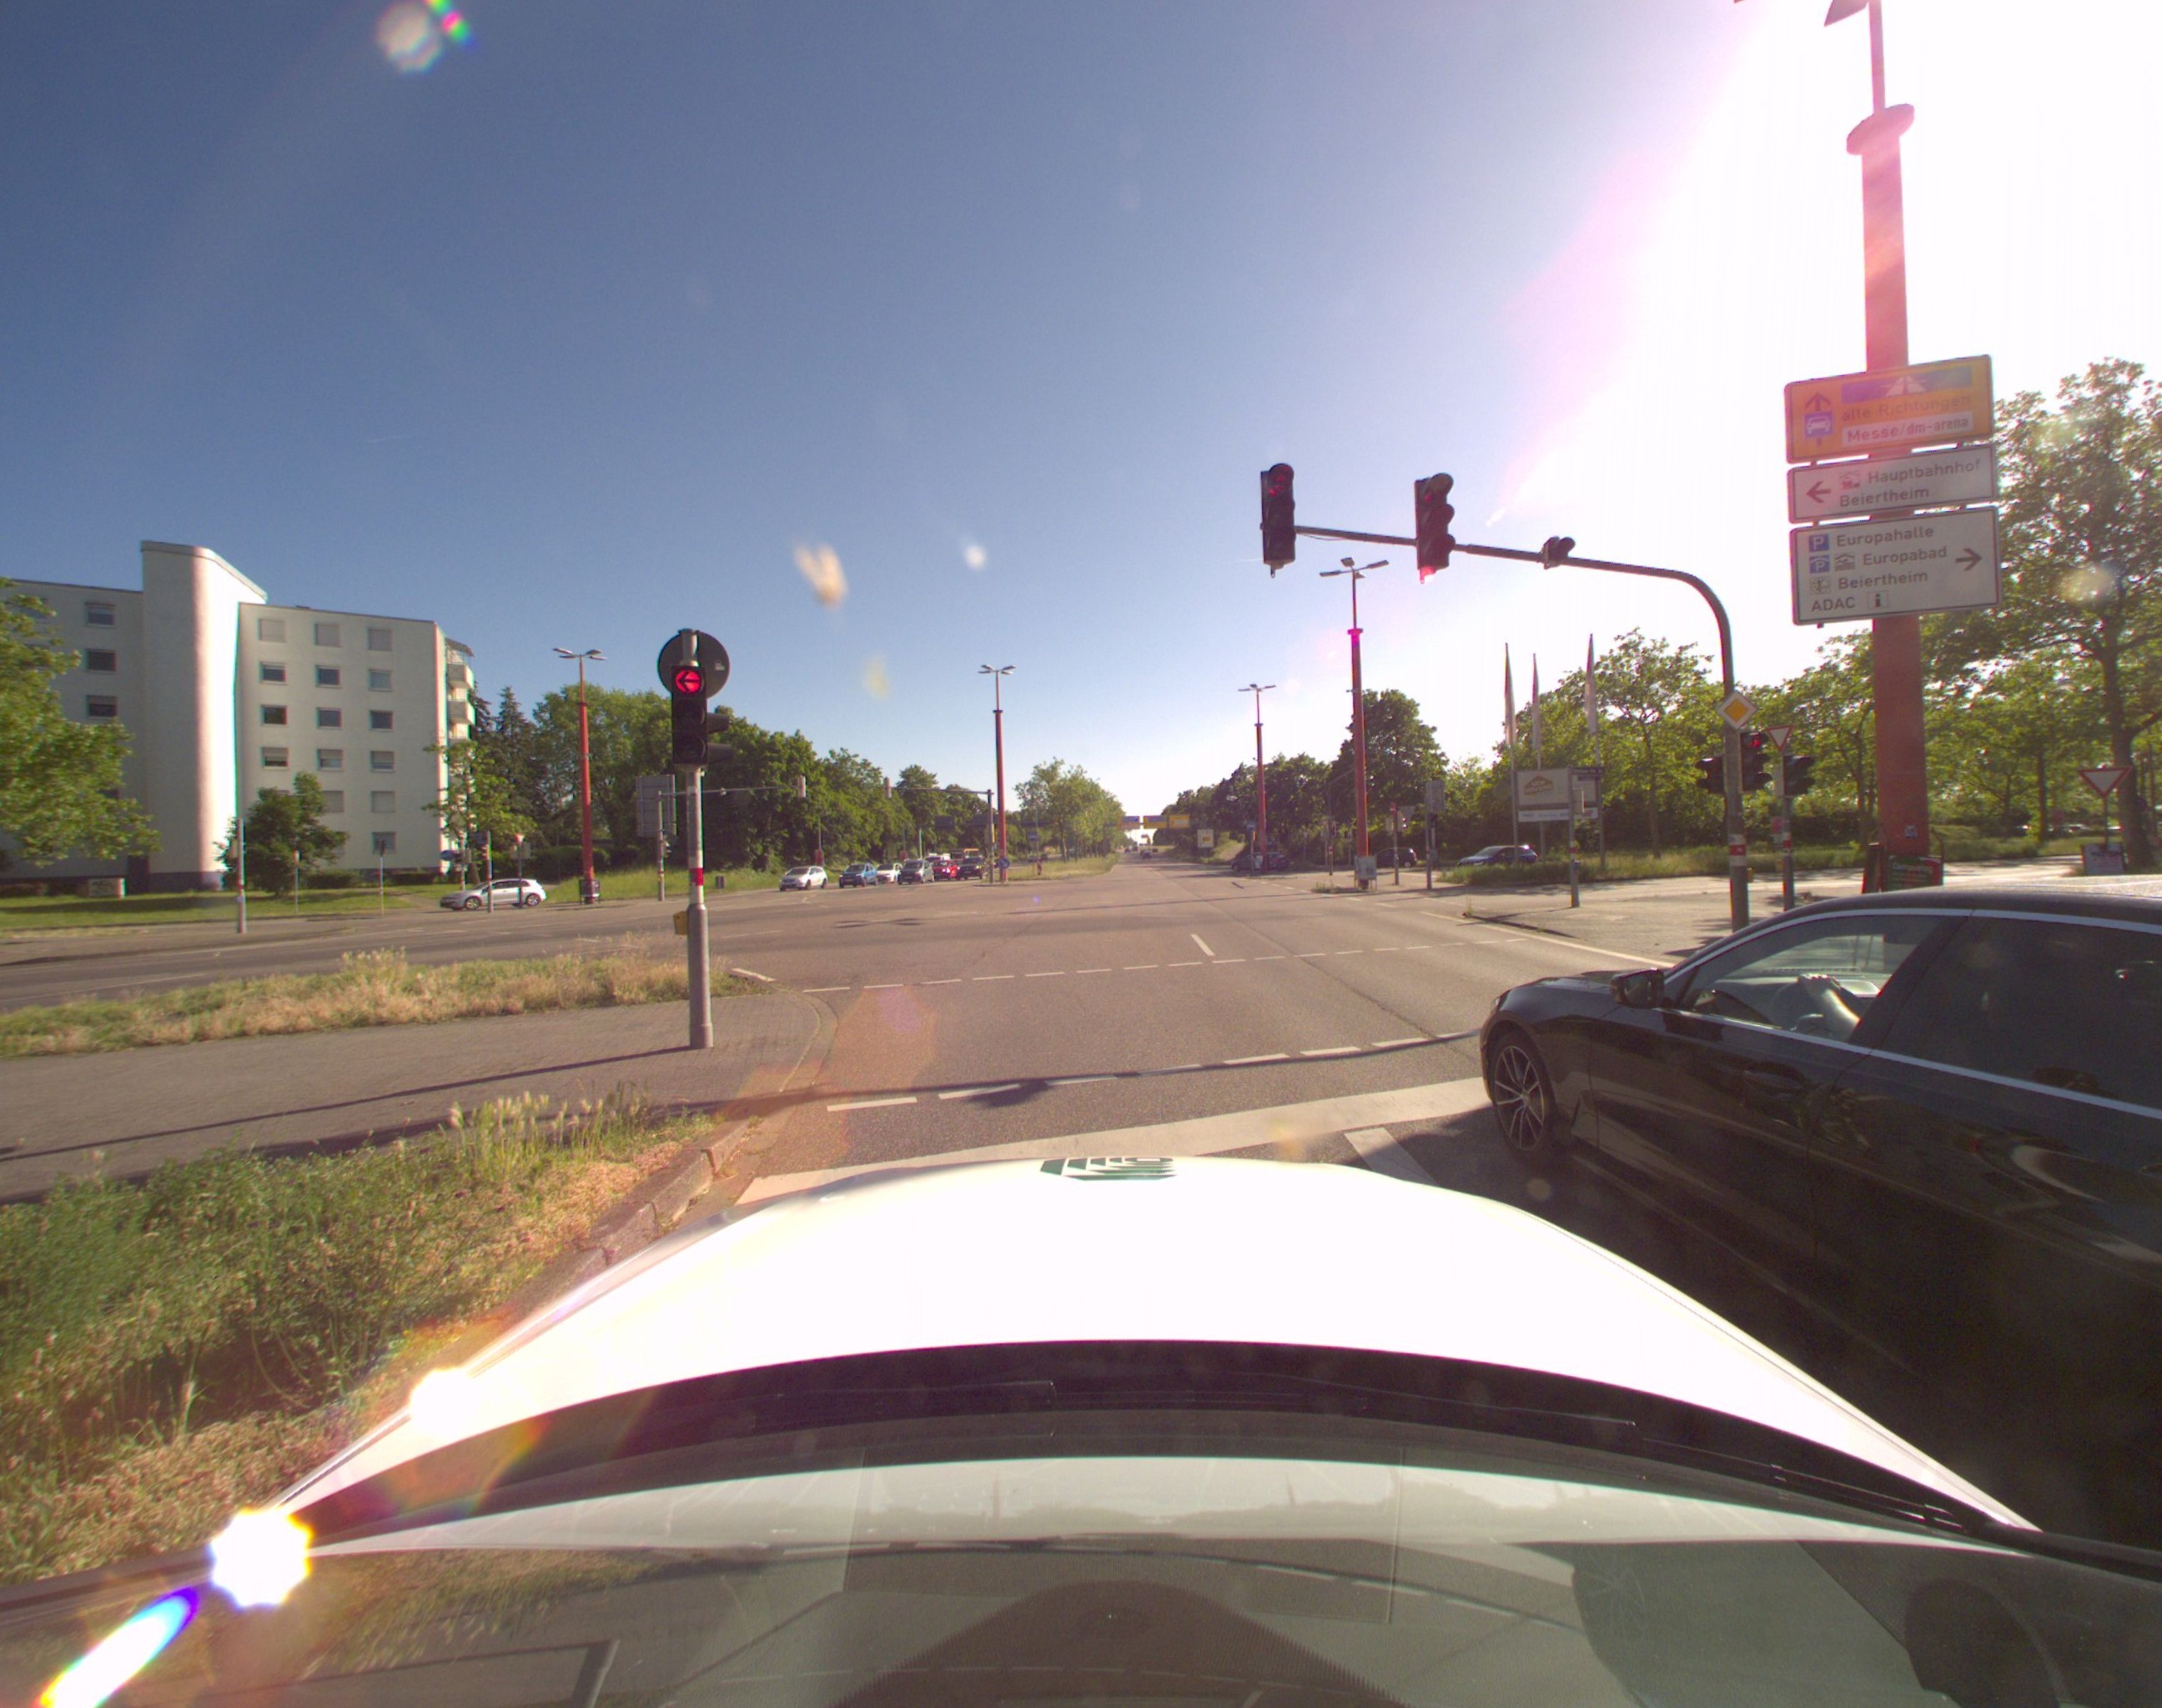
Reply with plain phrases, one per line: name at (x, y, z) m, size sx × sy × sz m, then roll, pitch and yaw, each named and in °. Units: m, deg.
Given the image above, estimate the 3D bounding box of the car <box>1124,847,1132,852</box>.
car at (14.892, -1.456, 257.849) m, size 2.241 × 1.573 × 4.276 m, roll -2°, pitch 0°, yaw -3°

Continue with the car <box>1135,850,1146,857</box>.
car at (15.198, -0.091, 208.245) m, size 2.153 × 1.573 × 4.277 m, roll -2°, pitch 0°, yaw -2°

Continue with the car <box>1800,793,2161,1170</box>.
car at (5.798, 0.558, 3.265) m, size 1.959 × 1.686 × 4.479 m, roll -1°, pitch 0°, yaw 2°

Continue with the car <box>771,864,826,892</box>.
car at (-17.693, 1.468, 51.185) m, size 1.987 × 1.573 × 4.120 m, roll -2°, pitch 0°, yaw 0°

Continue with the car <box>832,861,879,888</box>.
car at (-14.236, 1.286, 51.645) m, size 1.989 × 1.573 × 4.116 m, roll -2°, pitch 0°, yaw -3°

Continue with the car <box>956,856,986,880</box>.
car at (-7.566, 0.941, 56.493) m, size 1.874 × 1.573 × 4.112 m, roll -2°, pitch 0°, yaw -6°

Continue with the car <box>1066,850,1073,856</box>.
car at (-3.126, -0.273, 231.045) m, size 1.892 × 1.771 × 3.849 m, roll -2°, pitch 0°, yaw 0°

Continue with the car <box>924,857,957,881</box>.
car at (-10.103, 1.049, 58.875) m, size 1.991 × 1.573 × 4.112 m, roll -2°, pitch 0°, yaw -6°

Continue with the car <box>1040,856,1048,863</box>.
car at (-9.061, 1.335, 198.419) m, size 1.872 × 1.573 × 4.117 m, roll -2°, pitch 0°, yaw -2°

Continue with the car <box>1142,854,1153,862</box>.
car at (13.424, 0.850, 164.654) m, size 2.149 × 1.573 × 4.285 m, roll -2°, pitch 0°, yaw 4°

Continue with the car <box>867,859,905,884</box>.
car at (-13.738, 1.218, 57.527) m, size 1.991 × 1.573 × 4.112 m, roll -3°, pitch 0°, yaw -6°

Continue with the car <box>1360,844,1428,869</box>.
car at (21.652, 0.158, 56.288) m, size 4.228 × 1.573 × 2.178 m, roll -2°, pitch 0°, yaw 24°

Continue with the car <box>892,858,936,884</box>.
car at (-10.732, 1.048, 52.584) m, size 1.988 × 1.573 × 4.119 m, roll -2°, pitch 0°, yaw -1°

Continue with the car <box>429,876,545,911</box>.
car at (-29.298, 1.918, 40.302) m, size 1.776 × 1.452 × 4.248 m, roll -2°, pitch 0°, yaw 30°

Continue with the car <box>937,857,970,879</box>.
car at (-10.065, 1.096, 64.657) m, size 1.988 × 1.573 × 4.118 m, roll -2°, pitch 0°, yaw -1°

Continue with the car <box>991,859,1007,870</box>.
car at (-12.229, 1.561, 120.958) m, size 1.814 × 1.454 × 3.658 m, roll -2°, pitch 0°, yaw 2°

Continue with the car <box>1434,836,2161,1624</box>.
car at (2.952, 0.663, 2.377) m, size 1.986 × 1.394 × 4.479 m, roll -2°, pitch 0°, yaw 2°

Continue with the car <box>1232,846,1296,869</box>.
car at (14.013, 0.290, 62.510) m, size 2.175 × 1.573 × 4.534 m, roll -2°, pitch 0°, yaw -34°

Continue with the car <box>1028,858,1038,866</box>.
car at (-10.182, 1.758, 173.040) m, size 1.872 × 1.573 × 3.943 m, roll -2°, pitch 0°, yaw -2°

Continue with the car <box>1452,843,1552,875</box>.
car at (20.806, 0.234, 40.278) m, size 4.276 × 1.428 × 1.874 m, roll -2°, pitch 0°, yaw -16°

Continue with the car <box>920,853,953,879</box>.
car at (-12.734, 1.057, 71.990) m, size 2.055 × 2.193 × 4.377 m, roll -2°, pitch 0°, yaw 0°
